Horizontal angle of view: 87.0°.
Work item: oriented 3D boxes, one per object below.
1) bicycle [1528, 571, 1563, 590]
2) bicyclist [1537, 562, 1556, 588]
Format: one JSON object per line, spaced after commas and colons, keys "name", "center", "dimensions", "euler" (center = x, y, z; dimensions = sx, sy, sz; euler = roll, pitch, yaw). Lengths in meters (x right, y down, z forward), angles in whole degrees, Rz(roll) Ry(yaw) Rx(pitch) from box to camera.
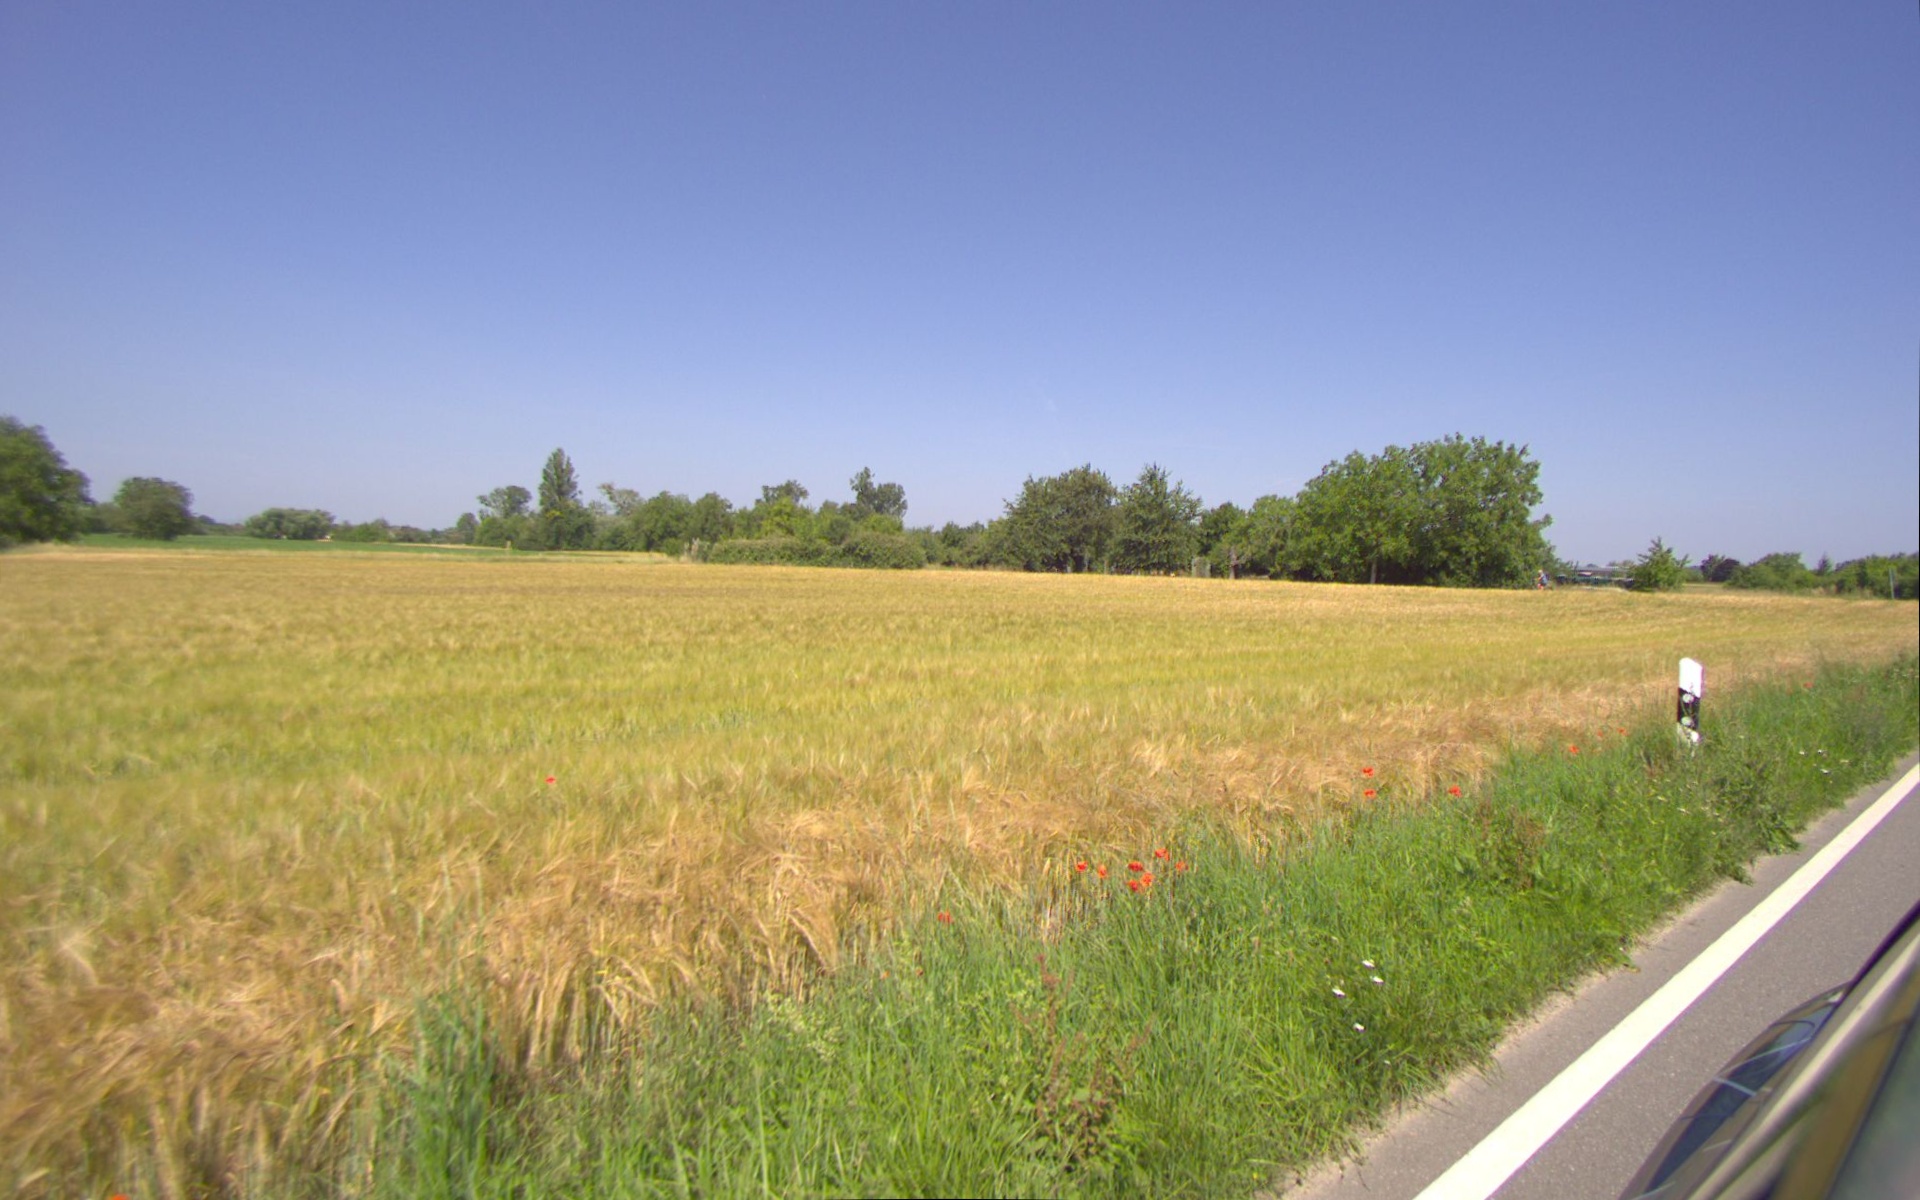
{"name": "bicycle", "center": [36.688, -1.249, 63.431], "dimensions": [1.739, 1.129, 0.521], "euler": [2, 2, 7]}
{"name": "bicyclist", "center": [36.728, -1.599, 63.394], "dimensions": [0.723, 1.593, 0.674], "euler": [2, 2, 7]}
